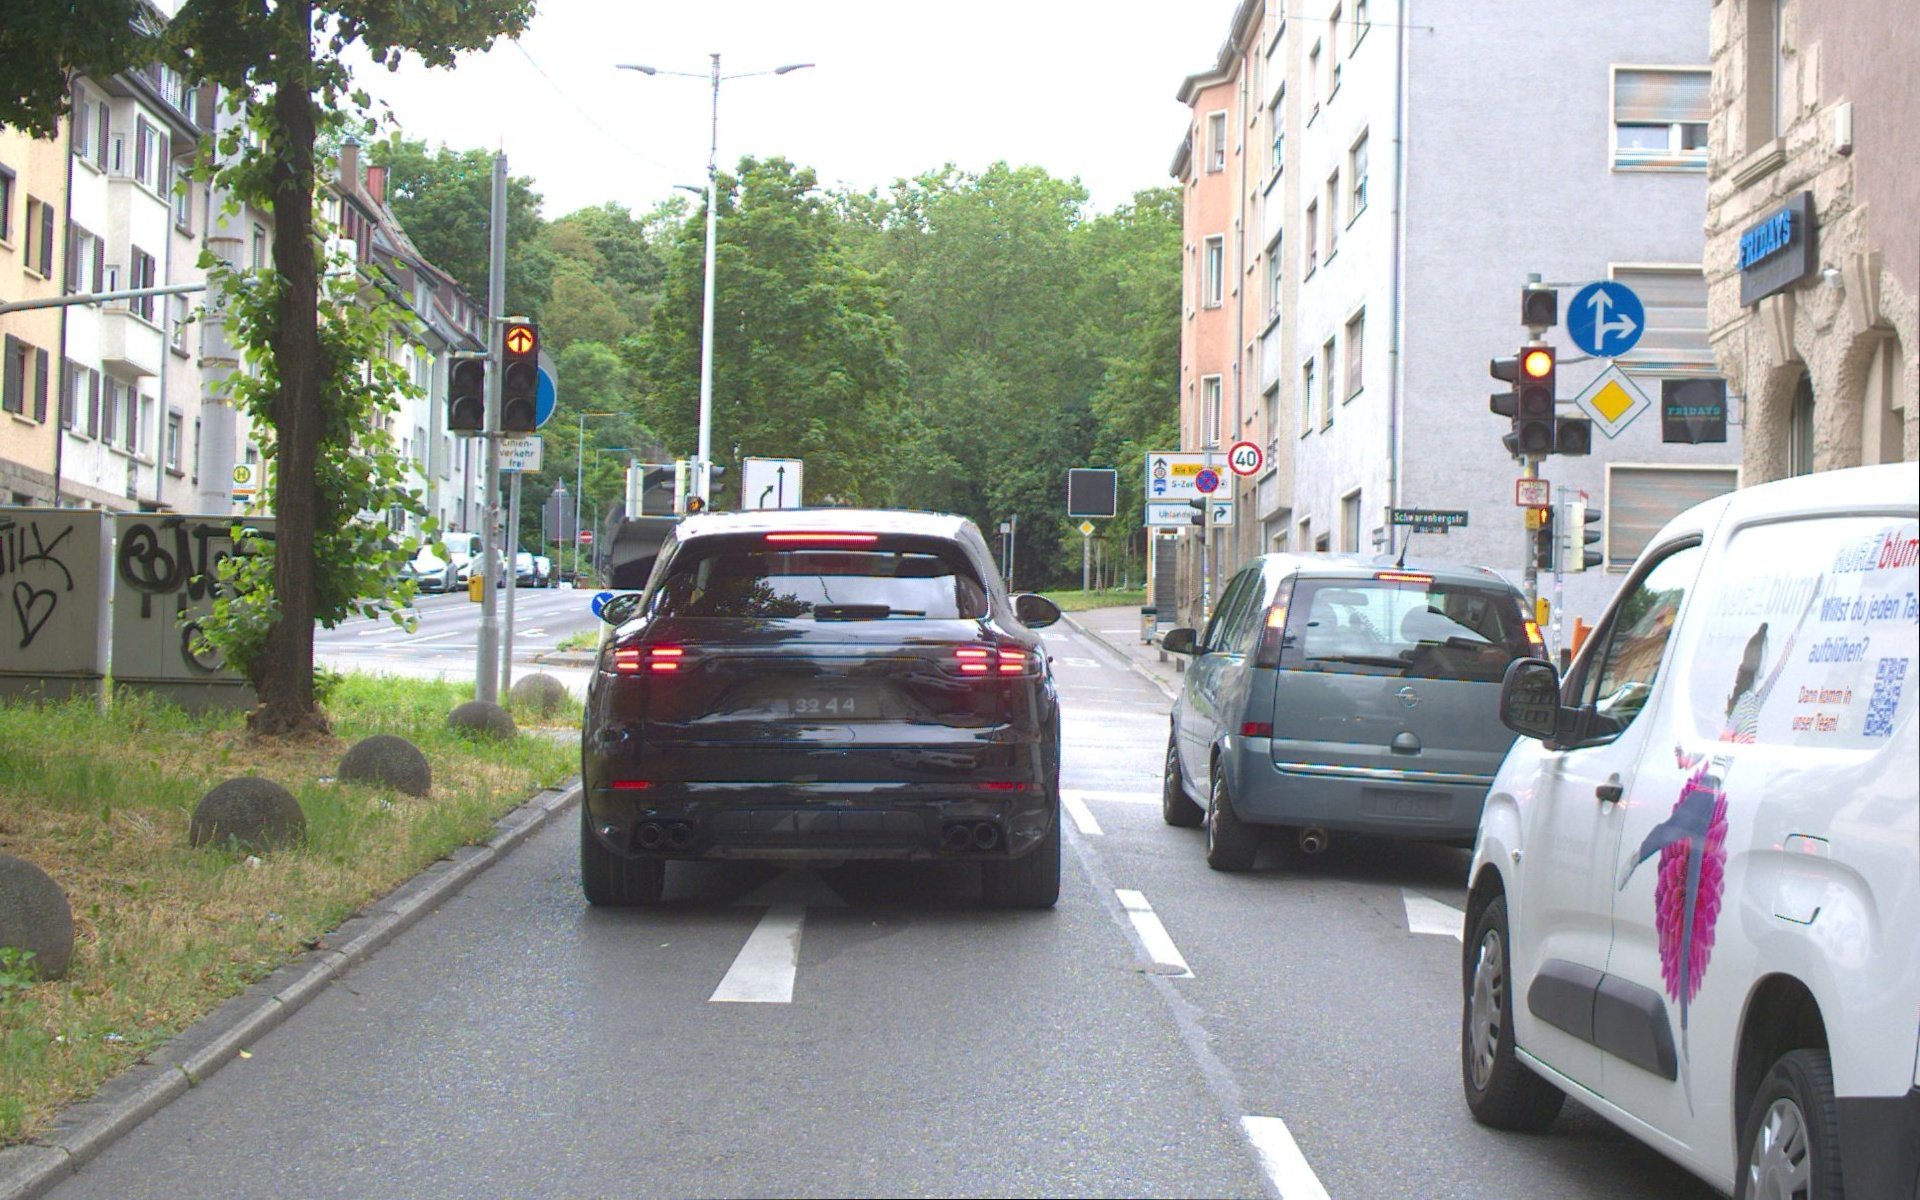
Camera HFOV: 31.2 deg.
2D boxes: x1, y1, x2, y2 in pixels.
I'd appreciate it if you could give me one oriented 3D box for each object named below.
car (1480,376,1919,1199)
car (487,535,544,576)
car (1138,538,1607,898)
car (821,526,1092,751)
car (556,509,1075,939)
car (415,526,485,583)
[{"bbox_3d":[2.376,0.629,7.792,1.850,1.819,5.020,2,-1,3],"label":"car"},{"bbox_3d":[-17.382,-1.752,134.660,1.794,1.505,4.000,1,1,-2],"label":"car"},{"bbox_3d":[2.033,0.527,17.953,1.752,1.588,3.631,4,1,-3],"label":"car"},{"bbox_3d":[-0.012,0.277,27.504,1.994,1.647,4.000,1,0,0],"label":"car"},{"bbox_3d":[-0.550,0.433,15.314,1.994,1.647,4.000,1,1,0],"label":"car"},{"bbox_3d":[-16.817,-1.520,113.430,1.794,1.804,4.000,1,1,-2],"label":"car"}]
